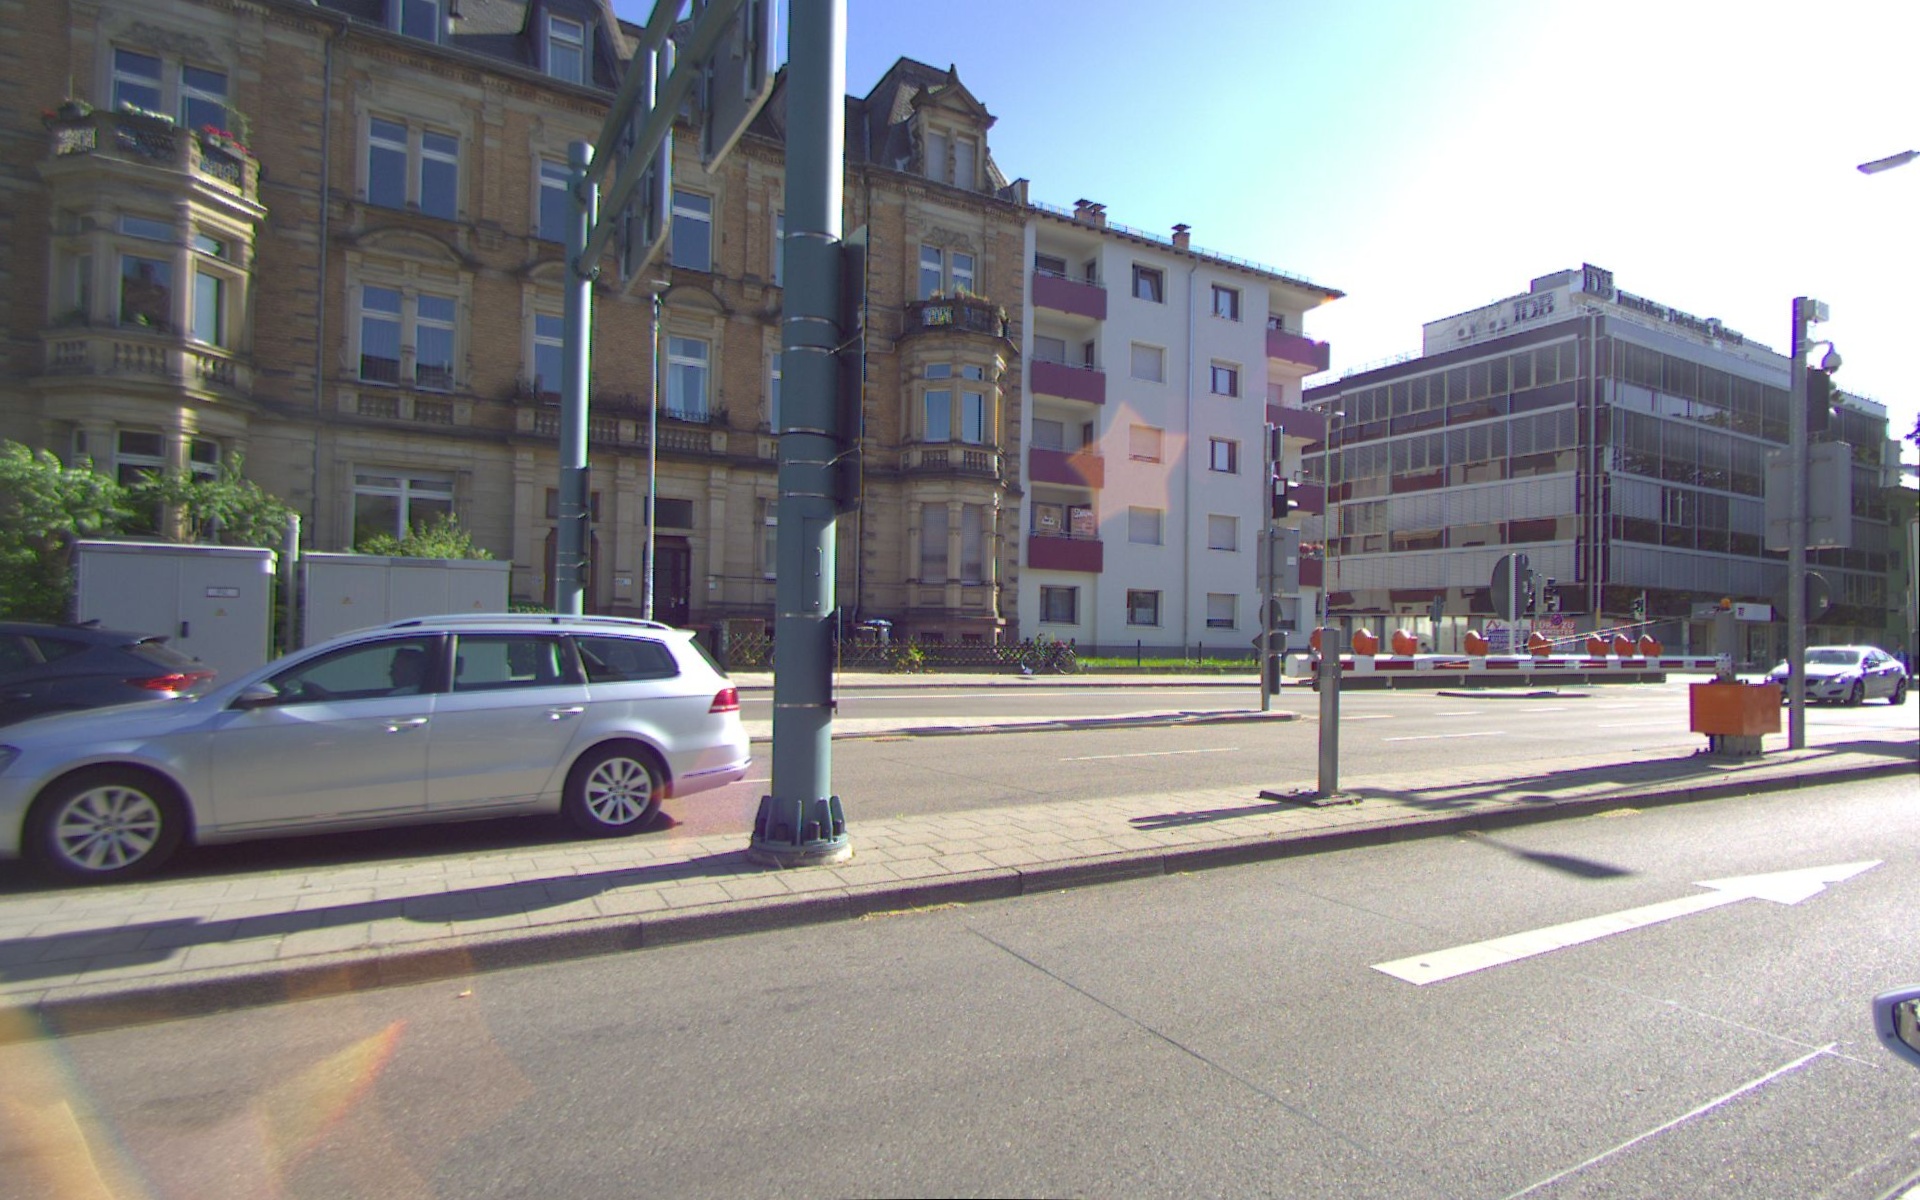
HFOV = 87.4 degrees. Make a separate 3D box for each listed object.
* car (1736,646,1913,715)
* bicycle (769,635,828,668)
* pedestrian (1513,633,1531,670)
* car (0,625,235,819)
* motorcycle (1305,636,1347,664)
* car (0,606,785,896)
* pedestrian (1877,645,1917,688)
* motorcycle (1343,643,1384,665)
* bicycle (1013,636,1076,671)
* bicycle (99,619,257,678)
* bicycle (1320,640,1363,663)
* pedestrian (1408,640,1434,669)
[{"bbox_3d":[22.105,2.006,25.664,4.336,1.472,1.985,2,1,-29],"label":"car"},{"bbox_3d":[-3.959,1.267,24.605,1.396,0.781,0.297,2,-1,-29],"label":"bicycle"},{"bbox_3d":[26.018,2.370,46.514,0.688,1.680,0.745,1,-1,31],"label":"pedestrian"},{"bbox_3d":[-8.403,0.944,7.831,4.260,1.459,1.600,2,-4,-30],"label":"car"},{"bbox_3d":[16.157,2.210,44.345,1.756,1.157,0.610,2,-1,-21],"label":"motorcycle"},{"bbox_3d":[-3.737,0.837,7.023,4.566,1.472,1.984,1,-3,-32],"label":"car"},{"bbox_3d":[38.534,2.718,41.319,0.997,1.733,0.863,2,-1,-22],"label":"pedestrian"},{"bbox_3d":[17.666,2.361,43.959,1.815,0.948,0.502,2,-1,-22],"label":"motorcycle"},{"bbox_3d":[2.394,1.513,28.224,1.916,0.971,0.303,2,-2,-29],"label":"bicycle"},{"bbox_3d":[-14.309,0.881,18.450,2.224,1.018,0.464,2,0,-31],"label":"bicycle"},{"bbox_3d":[17.346,2.347,45.660,1.852,0.991,0.507,2,-1,-13],"label":"bicycle"},{"bbox_3d":[19.004,2.255,41.376,0.783,1.168,0.711,3,-1,-41],"label":"pedestrian"}]
